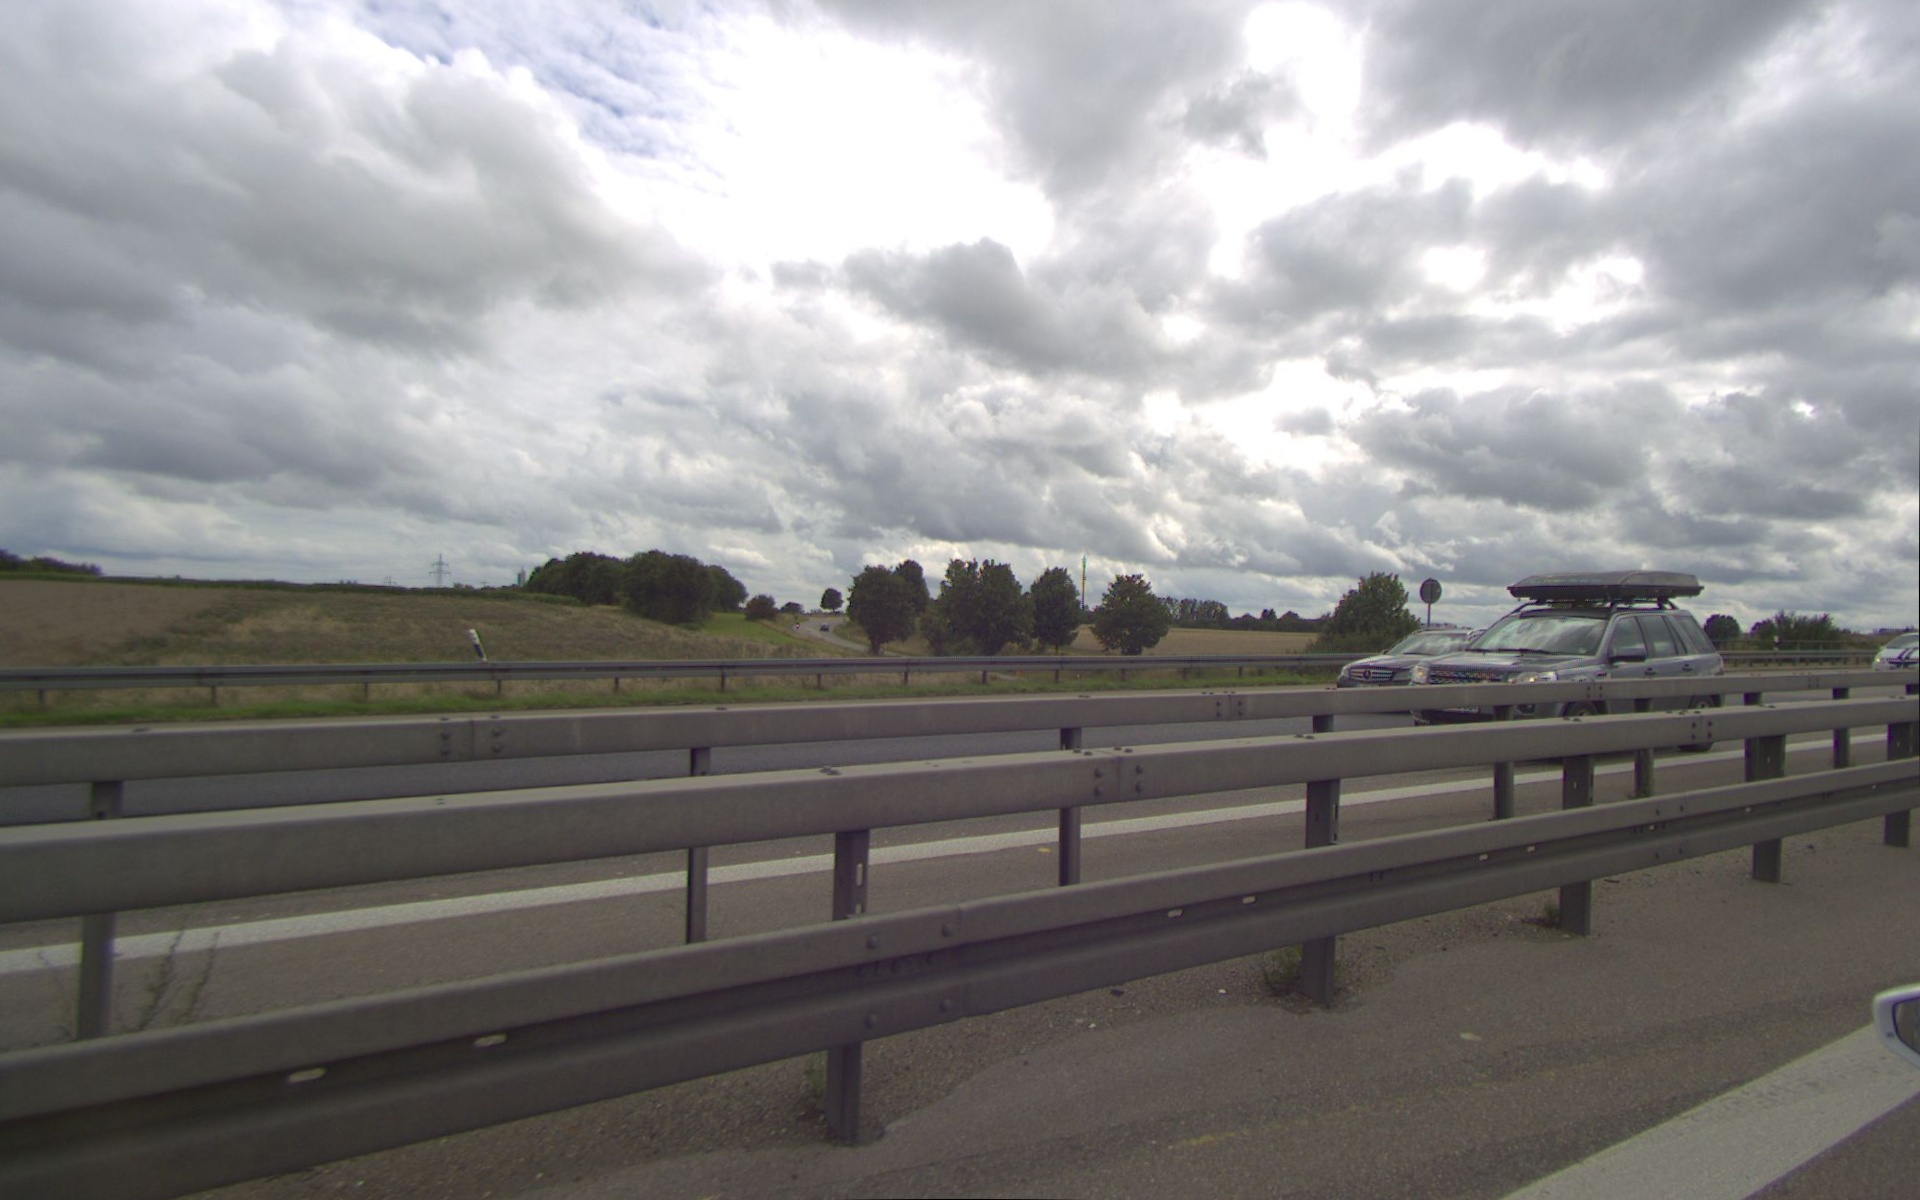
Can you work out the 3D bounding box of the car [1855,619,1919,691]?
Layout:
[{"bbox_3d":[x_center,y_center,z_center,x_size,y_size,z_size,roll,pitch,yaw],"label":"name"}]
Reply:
[{"bbox_3d":[28.905,1.664,30.124,4.336,2.040,1.983,3,-2,-32],"label":"car"}]

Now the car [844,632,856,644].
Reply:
[{"bbox_3d":[-20.163,6.940,183.204,1.849,1.951,3.737,2,-1,-11],"label":"car"}]

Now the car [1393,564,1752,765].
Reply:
[{"bbox_3d":[7.474,0.684,12.168,4.335,2.040,1.982,1,0,-32],"label":"car"}]

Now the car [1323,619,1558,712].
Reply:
[{"bbox_3d":[8.906,1.137,18.518,4.508,1.488,1.747,1,0,-31],"label":"car"}]
